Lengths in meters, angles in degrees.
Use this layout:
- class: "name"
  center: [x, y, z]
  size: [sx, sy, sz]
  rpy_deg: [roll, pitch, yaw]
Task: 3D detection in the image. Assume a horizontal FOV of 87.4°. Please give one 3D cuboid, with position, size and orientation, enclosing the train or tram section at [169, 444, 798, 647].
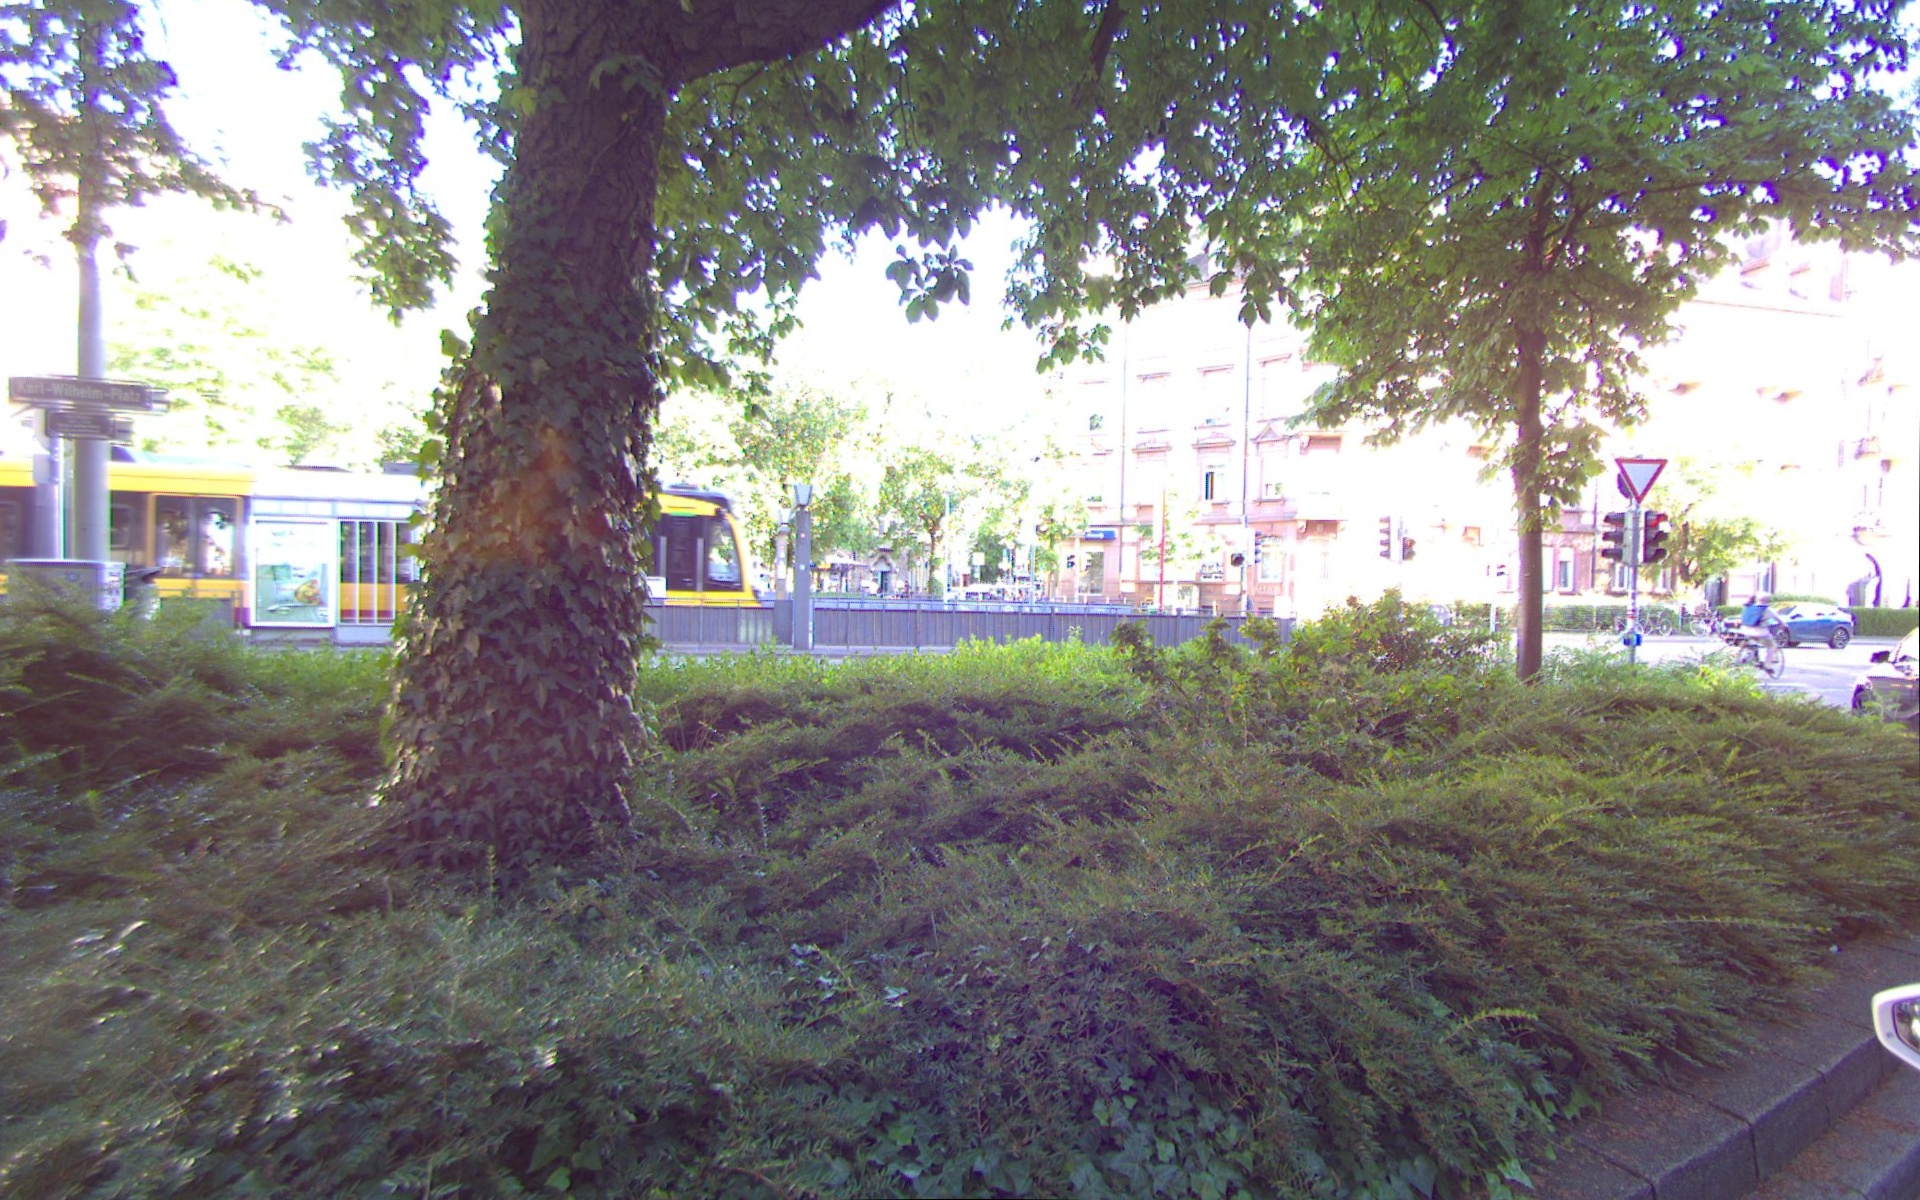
- class: "train or tram section"
  center: [-9.441, -0.987, 21.496]
  size: [11.598, 3.668, 2.793]
  rpy_deg: [1, 1, -13]

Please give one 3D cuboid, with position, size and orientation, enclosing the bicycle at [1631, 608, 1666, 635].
- class: "bicycle"
  center: [29.051, 0.898, 42.373]
  size: [1.210, 1.122, 0.442]
  rpy_deg: [1, 2, -7]

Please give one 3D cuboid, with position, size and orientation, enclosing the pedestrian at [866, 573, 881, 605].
- class: "pedestrian"
  center: [-5.688, -0.725, 66.105]
  size: [0.700, 2.040, 0.740]
  rpy_deg: [2, 0, 11]

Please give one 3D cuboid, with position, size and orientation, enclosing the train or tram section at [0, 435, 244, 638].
- class: "train or tram section"
  center: [-21.003, -1.275, 18.769]
  size: [12.206, 3.635, 2.779]
  rpy_deg: [1, 1, -13]

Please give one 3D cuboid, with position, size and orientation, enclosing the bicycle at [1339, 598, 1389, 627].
- class: "bicycle"
  center: [17.570, 0.535, 43.728]
  size: [1.928, 1.122, 0.443]
  rpy_deg: [3, 2, 22]

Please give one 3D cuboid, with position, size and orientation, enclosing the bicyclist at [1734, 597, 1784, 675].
- class: "bicyclist"
  center: [16.955, 0.758, 21.319]
  size: [0.664, 1.619, 0.528]
  rpy_deg: [1, 1, -19]

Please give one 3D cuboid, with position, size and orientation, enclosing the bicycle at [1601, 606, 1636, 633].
- class: "bicycle"
  center: [27.683, 0.821, 42.226]
  size: [1.210, 1.122, 0.442]
  rpy_deg: [1, 2, -7]

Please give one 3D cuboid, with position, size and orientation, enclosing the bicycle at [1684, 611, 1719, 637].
- class: "bicycle"
  center: [31.578, 1.029, 42.766]
  size: [1.211, 1.052, 0.442]
  rpy_deg: [1, 2, -8]

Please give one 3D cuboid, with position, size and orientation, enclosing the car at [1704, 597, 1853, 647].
- class: "car"
  center: [30.054, 0.796, 36.908]
  size: [4.333, 1.672, 1.944]
  rpy_deg: [1, 1, -12]

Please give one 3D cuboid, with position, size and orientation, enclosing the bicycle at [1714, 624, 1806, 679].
- class: "bicycle"
  center: [16.993, 1.095, 21.335]
  size: [1.936, 1.122, 0.533]
  rpy_deg: [1, 1, -19]

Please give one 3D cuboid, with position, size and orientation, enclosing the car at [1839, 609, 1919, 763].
- class: "car"
  center: [10.758, 0.873, 10.253]
  size: [1.762, 1.562, 3.855]
  rpy_deg: [0, 0, 27]
